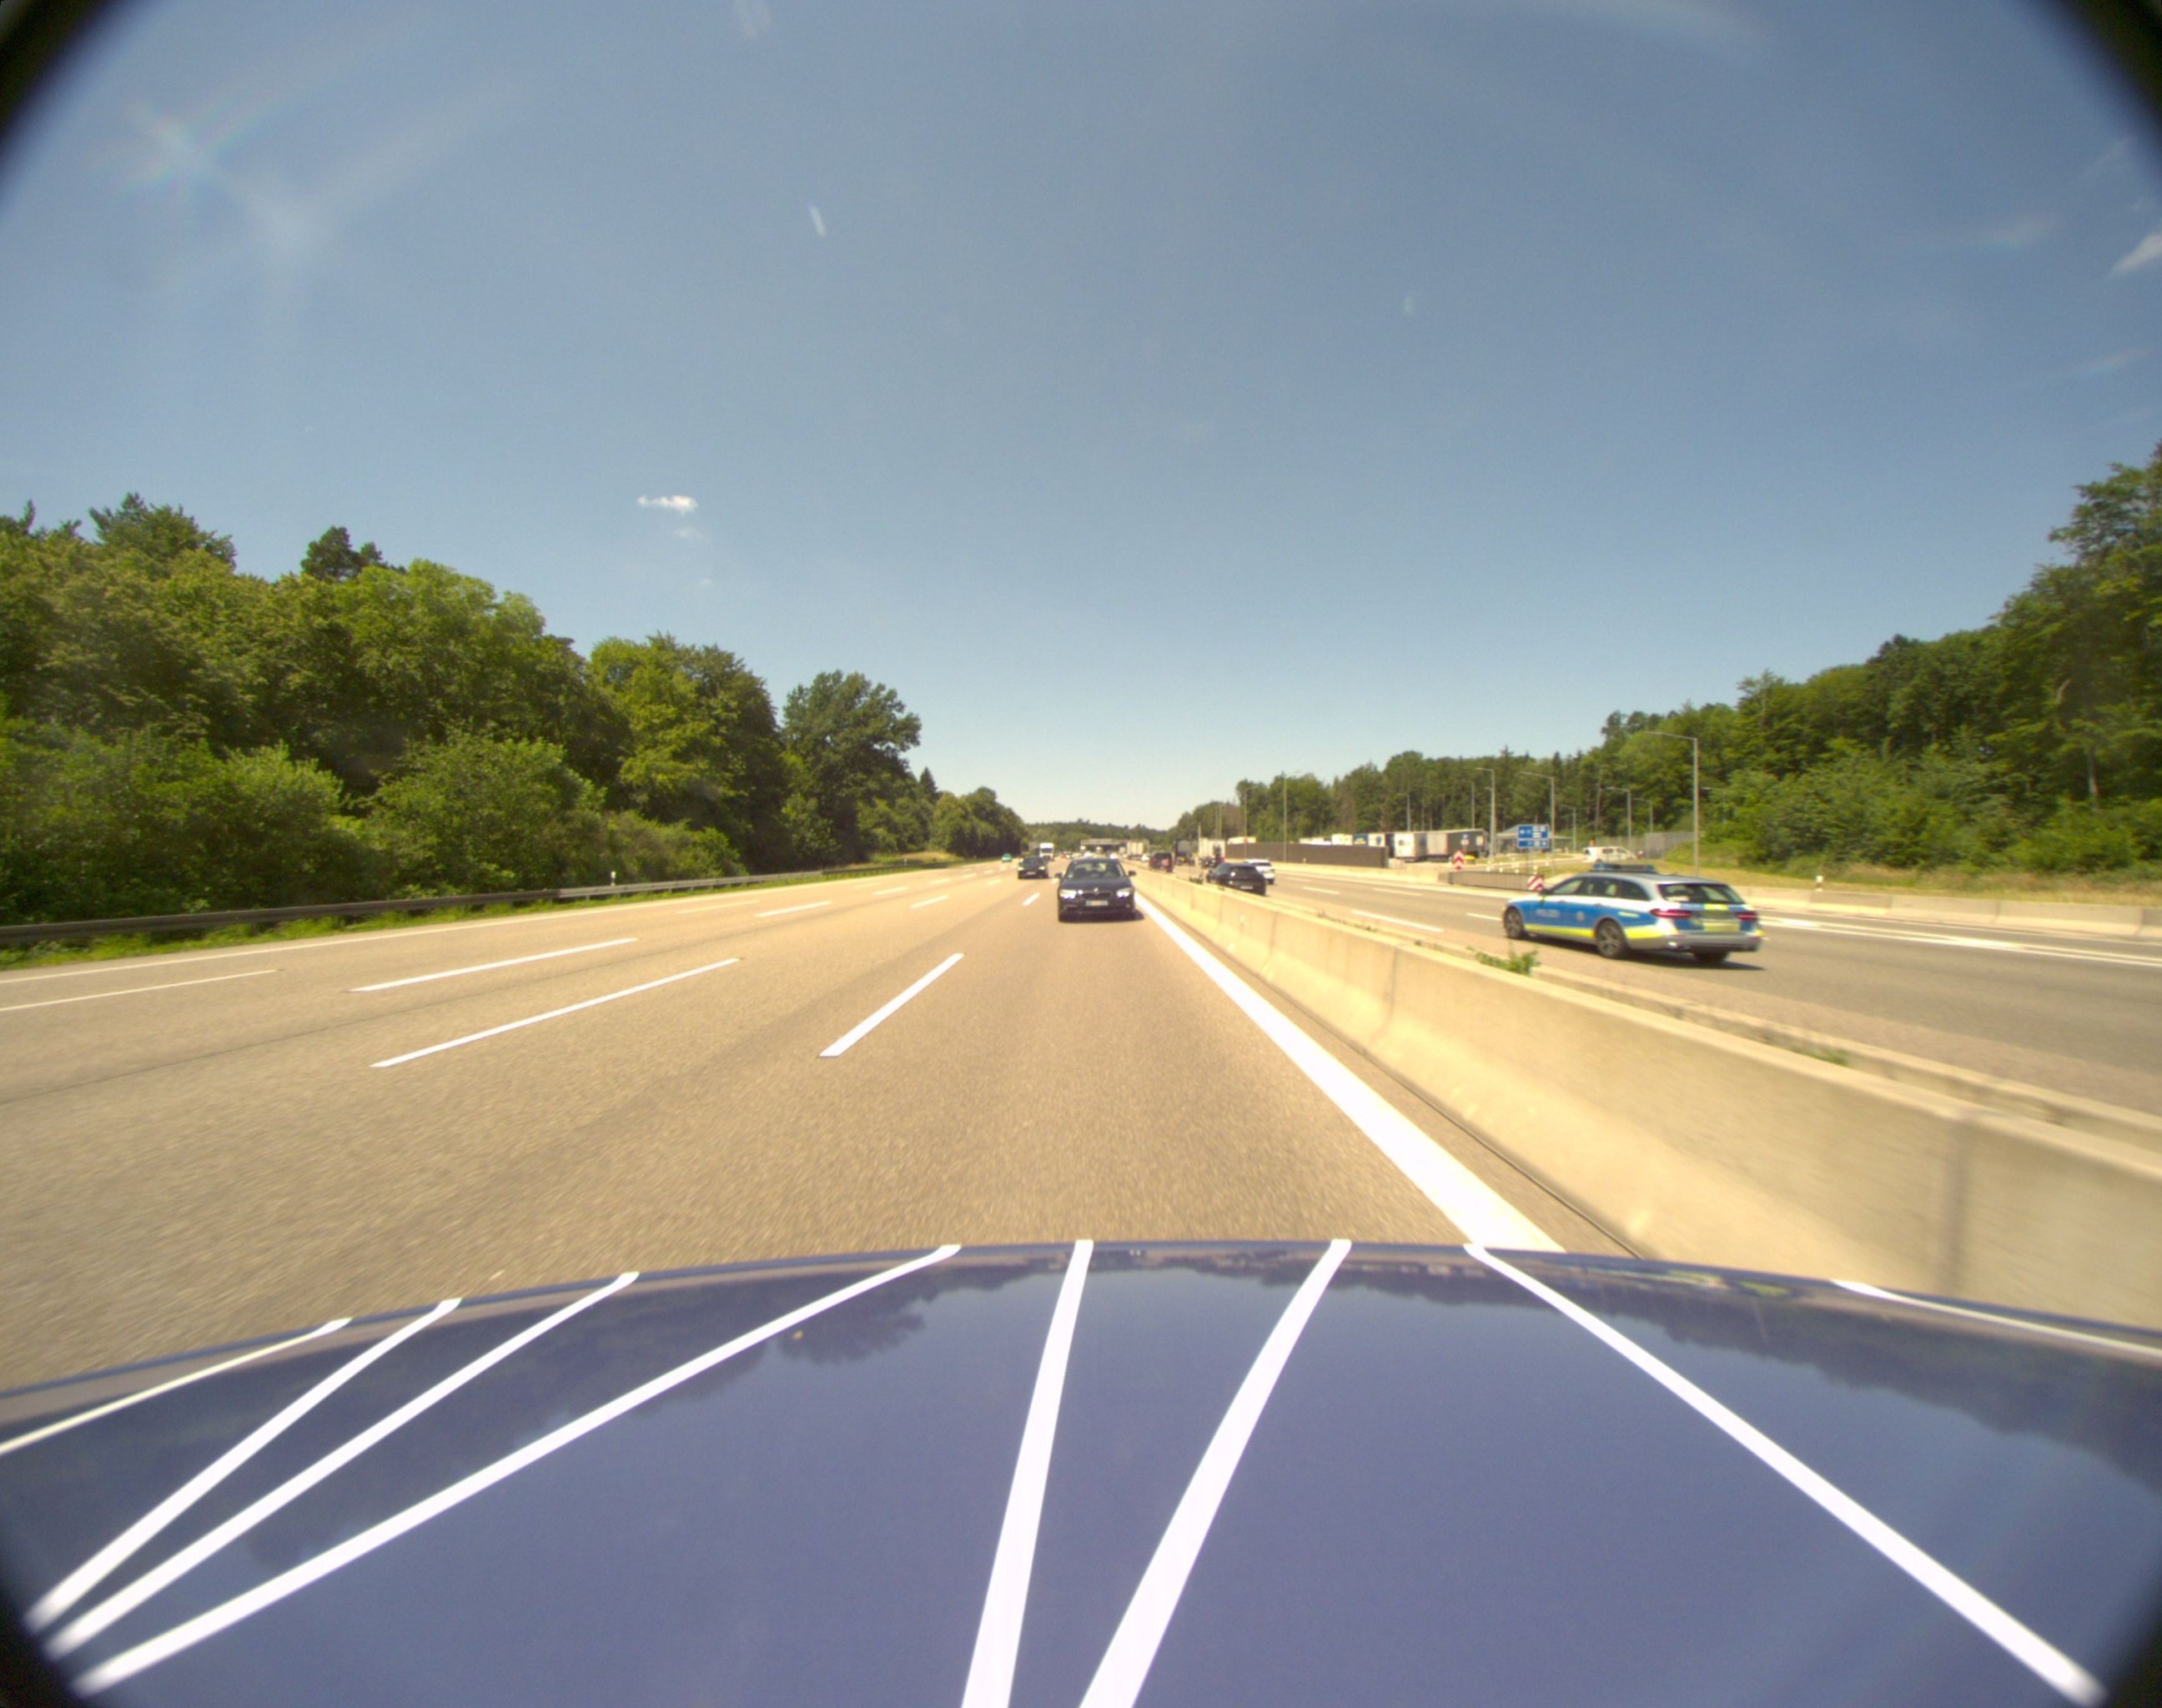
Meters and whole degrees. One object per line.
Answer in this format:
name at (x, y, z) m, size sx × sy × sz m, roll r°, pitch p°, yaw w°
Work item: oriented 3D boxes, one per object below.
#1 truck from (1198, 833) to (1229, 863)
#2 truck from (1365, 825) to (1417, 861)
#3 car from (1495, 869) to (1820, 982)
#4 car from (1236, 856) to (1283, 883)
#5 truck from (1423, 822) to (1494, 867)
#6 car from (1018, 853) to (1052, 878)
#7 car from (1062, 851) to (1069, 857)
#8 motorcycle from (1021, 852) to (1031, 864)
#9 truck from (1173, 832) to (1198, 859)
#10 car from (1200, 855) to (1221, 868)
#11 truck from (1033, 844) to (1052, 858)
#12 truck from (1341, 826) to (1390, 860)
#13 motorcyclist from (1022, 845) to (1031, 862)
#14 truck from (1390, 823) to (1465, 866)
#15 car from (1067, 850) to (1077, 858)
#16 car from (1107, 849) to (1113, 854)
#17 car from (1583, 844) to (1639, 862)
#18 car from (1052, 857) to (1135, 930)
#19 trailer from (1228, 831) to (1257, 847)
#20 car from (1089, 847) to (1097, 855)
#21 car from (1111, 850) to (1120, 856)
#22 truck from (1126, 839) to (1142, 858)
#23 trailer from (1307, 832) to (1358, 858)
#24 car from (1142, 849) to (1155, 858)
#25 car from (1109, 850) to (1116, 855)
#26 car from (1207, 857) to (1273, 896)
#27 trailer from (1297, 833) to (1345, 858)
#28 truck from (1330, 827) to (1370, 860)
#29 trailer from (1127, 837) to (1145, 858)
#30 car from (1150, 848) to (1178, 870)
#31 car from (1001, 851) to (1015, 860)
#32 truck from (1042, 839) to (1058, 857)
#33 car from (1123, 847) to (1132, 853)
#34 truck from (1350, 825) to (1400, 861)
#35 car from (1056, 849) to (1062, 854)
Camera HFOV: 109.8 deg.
truck at (19.298, -0.941, 111.107) m, size 2.842 × 4.173 × 10.595 m, roll 0°, pitch 1°, yaw 1°
truck at (49.288, -1.709, 120.430) m, size 11.562 × 5.580 × 3.358 m, roll -1°, pitch 1°, yaw -45°
car at (9.879, 1.102, 13.762) m, size 1.917 × 1.503 × 5.231 m, roll 1°, pitch 0°, yaw 1°
car at (10.820, 0.908, 46.290) m, size 1.765 × 1.455 × 4.839 m, roll 0°, pitch 1°, yaw 1°
truck at (51.196, -1.242, 102.549) m, size 16.745 × 5.580 × 3.214 m, roll -1°, pitch 1°, yaw -44°
car at (-2.914, 0.714, 48.753) m, size 1.834 × 1.454 × 4.204 m, roll 0°, pitch 1°, yaw 1°
car at (-4.173, -0.101, 206.211) m, size 1.874 × 1.560 × 4.128 m, roll 0°, pitch 0°, yaw 2°
motorcycle at (-6.227, 0.474, 86.612) m, size 0.925 × 1.311 × 2.997 m, roll 0°, pitch 1°, yaw 1°
truck at (15.027, -1.230, 109.466) m, size 2.584 × 3.819 × 7.016 m, roll 1°, pitch 1°, yaw 1°
car at (14.867, 0.849, 87.488) m, size 1.757 × 1.478 × 3.814 m, roll 1°, pitch 1°, yaw 0°
truck at (-7.697, -0.622, 152.439) m, size 2.660 × 2.839 × 10.886 m, roll 0°, pitch 1°, yaw 3°
truck at (48.538, -1.813, 129.411) m, size 11.562 × 5.580 × 3.219 m, roll -1°, pitch 1°, yaw -45°
motorcyclist at (-6.250, -0.029, 86.535) m, size 0.914 × 1.926 × 0.905 m, roll 0°, pitch 1°, yaw 1°
truck at (47.775, -1.288, 104.243) m, size 16.745 × 5.580 × 3.441 m, roll -1°, pitch 1°, yaw -44°
car at (-1.956, 0.058, 172.353) m, size 1.998 × 1.671 × 4.127 m, roll 0°, pitch 1°, yaw 3°
car at (10.006, -0.851, 264.569) m, size 1.999 × 1.653 × 5.753 m, roll 1°, pitch 1°, yaw 0°
car at (59.533, -0.109, 85.459) m, size 4.733 × 2.002 × 2.088 m, roll 0°, pitch 1°, yaw 15°
car at (0.334, 0.861, 18.559) m, size 1.741 × 1.450 × 4.542 m, roll -2°, pitch 0°, yaw 2°
trailer at (32.991, -3.023, 155.847) m, size 2.979 × 3.106 × 14.608 m, roll 0°, pitch 1°, yaw 1°
car at (3.288, -0.844, 208.125) m, size 1.998 × 1.935 × 4.128 m, roll 0°, pitch 0°, yaw 3°
car at (7.920, -0.282, 174.193) m, size 1.752 × 1.449 × 4.155 m, roll 0°, pitch 1°, yaw -1°
truck at (12.025, -1.325, 172.818) m, size 3.055 × 4.113 × 6.948 m, roll 2°, pitch 1°, yaw 0°
trailer at (49.748, -1.749, 149.981) m, size 14.597 × 5.043 × 3.214 m, roll -1°, pitch 1°, yaw -44°
car at (11.841, -0.112, 133.038) m, size 1.727 × 1.498 × 4.460 m, roll 0°, pitch 1°, yaw -1°
car at (9.530, -0.383, 232.876) m, size 1.875 × 1.538 × 4.591 m, roll 0°, pitch 1°, yaw -1°
car at (6.736, 0.911, 32.692) m, size 1.917 × 1.456 × 4.587 m, roll 0°, pitch 1°, yaw 1°
trailer at (51.045, -1.861, 161.209) m, size 14.597 × 5.043 × 3.120 m, roll -1°, pitch 1°, yaw -44°
truck at (47.089, -1.853, 132.783) m, size 8.506 × 5.580 × 3.219 m, roll -1°, pitch 1°, yaw -45°
trailer at (11.900, -1.402, 165.615) m, size 3.031 × 4.201 × 14.466 m, roll 1°, pitch 1°, yaw 1°
car at (7.488, 0.406, 68.891) m, size 1.903 × 1.942 × 5.656 m, roll 1°, pitch 1°, yaw 1°
car at (-13.032, 0.263, 136.187) m, size 1.998 × 1.671 × 4.127 m, roll 0°, pitch 1°, yaw 3°
truck at (-5.595, -1.082, 139.130) m, size 2.428 × 3.237 × 8.689 m, roll 0°, pitch 1°, yaw 1°
car at (12.405, -1.180, 203.986) m, size 1.999 × 1.478 × 5.018 m, roll 1°, pitch 0°, yaw -1°
truck at (48.031, -1.757, 123.910) m, size 11.562 × 5.580 × 3.219 m, roll -1°, pitch 1°, yaw -45°
car at (-7.032, -0.716, 246.182) m, size 1.747 × 1.529 × 4.127 m, roll 0°, pitch 1°, yaw 1°
